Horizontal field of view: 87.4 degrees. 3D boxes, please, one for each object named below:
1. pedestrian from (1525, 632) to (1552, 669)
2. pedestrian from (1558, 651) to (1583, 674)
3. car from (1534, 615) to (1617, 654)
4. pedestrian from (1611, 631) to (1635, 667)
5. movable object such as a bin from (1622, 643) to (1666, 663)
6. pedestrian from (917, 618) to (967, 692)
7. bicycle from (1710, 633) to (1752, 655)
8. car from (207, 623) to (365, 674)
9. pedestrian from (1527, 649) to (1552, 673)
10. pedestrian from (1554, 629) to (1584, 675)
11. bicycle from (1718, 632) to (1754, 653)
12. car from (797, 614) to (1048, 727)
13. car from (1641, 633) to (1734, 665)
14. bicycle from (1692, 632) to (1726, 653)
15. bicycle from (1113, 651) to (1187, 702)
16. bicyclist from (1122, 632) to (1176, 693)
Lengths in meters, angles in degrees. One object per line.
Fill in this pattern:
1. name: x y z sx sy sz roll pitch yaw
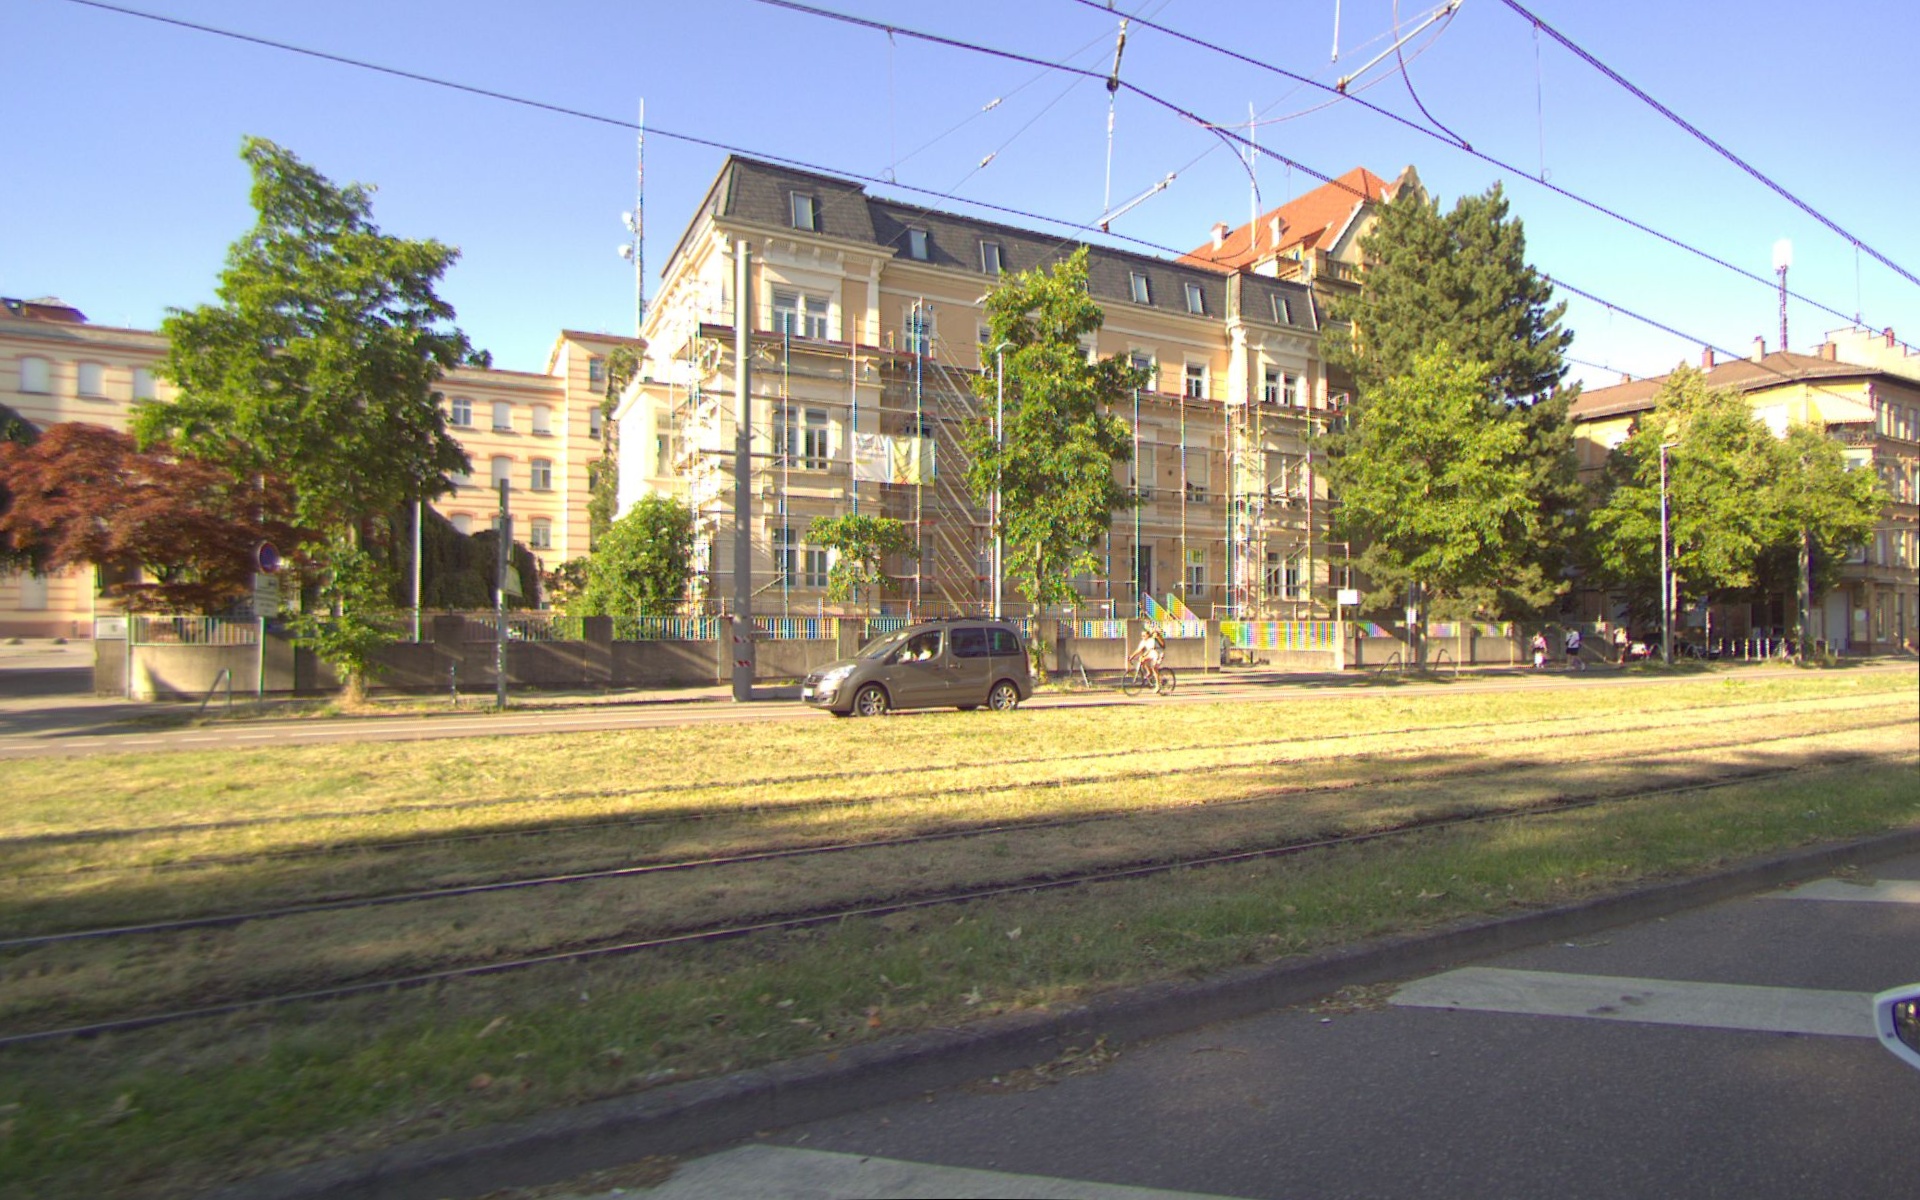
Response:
1. pedestrian: 24.457 2.131 42.446 0.773 1.559 0.647 1 -3 -29
2. pedestrian: 24.996 2.549 41.142 0.576 0.944 0.649 1 -3 -22
3. car: 34.838 1.909 57.047 1.960 2.040 4.615 1 0 2
4. pedestrian: 30.227 2.216 45.791 0.788 1.614 0.615 1 1 -29
5. movable object such as a bin: 31.338 2.423 46.025 1.222 0.876 1.239 1 0 -29
6. pedestrian: -0.490 1.464 26.889 1.073 1.953 0.855 1 -3 -29
7. bicycle: 44.619 2.549 58.119 2.203 1.194 0.785 1 0 -16
8. car: -20.437 1.442 30.652 3.802 1.426 1.600 1 0 -28
9. pedestrian: 23.446 2.462 40.631 0.578 0.944 0.646 1 -3 -31
10. pedestrian: 24.383 2.074 40.206 0.877 1.798 0.647 1 -3 -29
11. bicycle: 45.817 2.529 59.305 2.211 1.194 0.782 1 0 -26
12. car: -0.702 1.299 19.186 4.413 1.943 1.933 1 -3 -26
13. car: 38.300 2.567 53.012 1.960 1.491 4.193 1 -1 2
14. bicycle: 44.194 2.499 59.288 2.213 1.194 0.781 1 0 -30
15. bicycle: 4.862 1.925 25.685 1.733 1.209 0.771 1 0 -28
16. bicyclist: 4.827 1.576 25.658 1.119 1.501 0.771 1 1 -28
